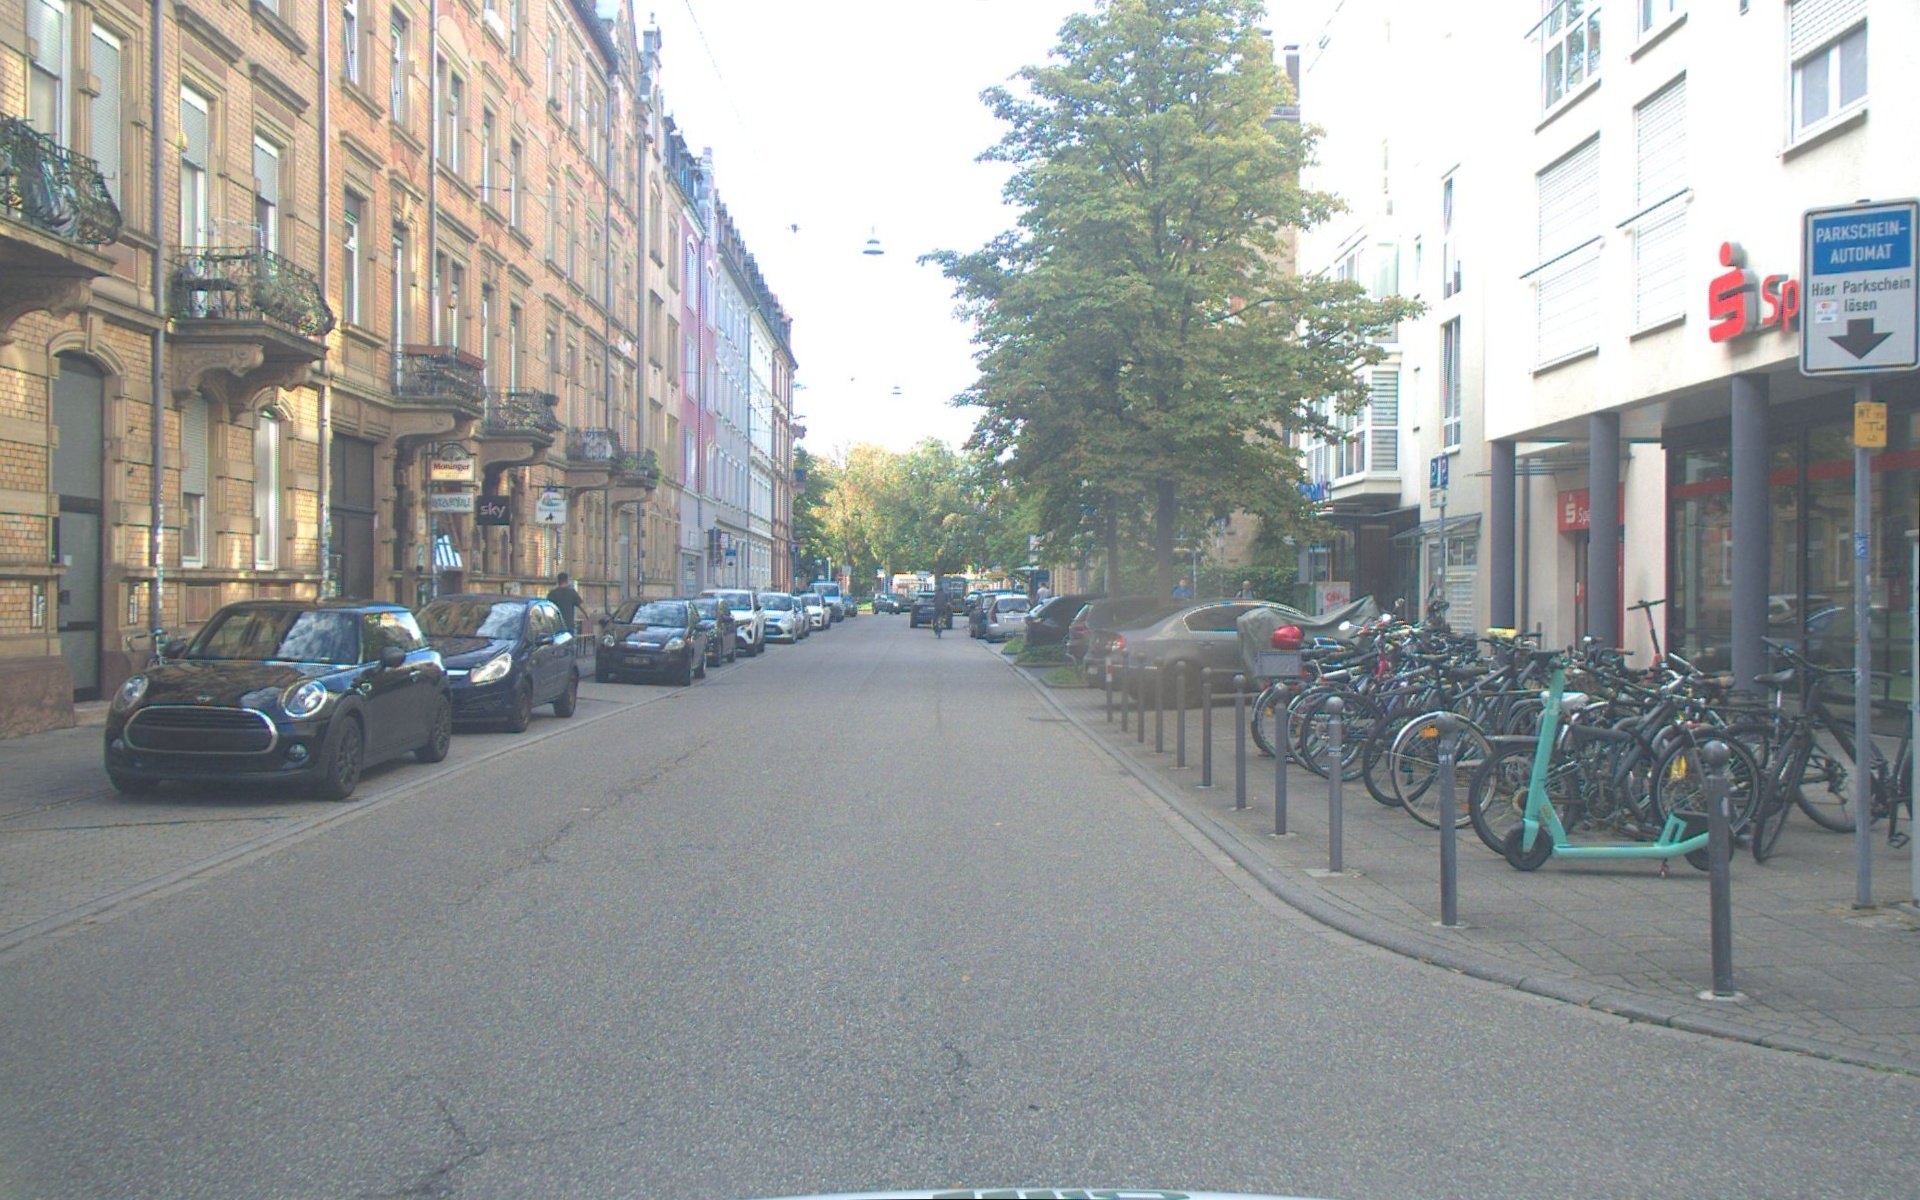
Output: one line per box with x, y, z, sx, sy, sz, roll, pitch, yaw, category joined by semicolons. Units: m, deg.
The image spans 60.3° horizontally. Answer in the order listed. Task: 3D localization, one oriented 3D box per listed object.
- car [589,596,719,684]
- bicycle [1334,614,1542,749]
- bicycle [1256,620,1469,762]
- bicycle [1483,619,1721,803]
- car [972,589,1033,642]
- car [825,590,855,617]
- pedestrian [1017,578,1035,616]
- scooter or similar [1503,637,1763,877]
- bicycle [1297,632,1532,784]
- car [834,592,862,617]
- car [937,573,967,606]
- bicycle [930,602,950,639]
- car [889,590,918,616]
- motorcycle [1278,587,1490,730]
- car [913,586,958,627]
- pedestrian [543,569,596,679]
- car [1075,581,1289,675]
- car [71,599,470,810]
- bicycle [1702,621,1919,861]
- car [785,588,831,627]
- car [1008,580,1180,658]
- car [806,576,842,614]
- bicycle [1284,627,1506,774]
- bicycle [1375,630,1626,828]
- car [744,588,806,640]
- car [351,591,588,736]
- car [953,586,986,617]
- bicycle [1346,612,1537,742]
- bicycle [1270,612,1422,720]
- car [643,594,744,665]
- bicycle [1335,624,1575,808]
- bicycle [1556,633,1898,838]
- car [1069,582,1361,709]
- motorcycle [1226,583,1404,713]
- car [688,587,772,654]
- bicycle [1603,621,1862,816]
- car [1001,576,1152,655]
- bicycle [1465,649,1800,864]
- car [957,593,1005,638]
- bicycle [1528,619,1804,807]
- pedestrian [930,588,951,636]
-5.441;0.669;29.817;1.656;1.393;3.866;3;0;-2;car
4.411;0.756;15.292;1.758;1.179;0.500;-2;1;25;bicycle
3.601;0.808;14.866;1.757;1.179;0.500;-2;1;1;bicycle
4.580;0.763;11.781;1.741;1.166;0.409;-3;1;-22;bicycle
1.404;0.500;56.532;1.891;1.666;3.999;1;1;-1;car
-7.292;0.232;100.687;1.656;1.577;3.865;1;0;-2;car
3.942;-0.178;99.202;0.975;2.269;0.898;1;0;-1;pedestrian
3.521;0.802;8.674;1.183;1.167;0.378;-2;2;31;scooter or similar
3.606;0.853;13.187;1.729;1.118;0.411;-2;1;1;bicycle
-7.484;0.282;110.388;1.555;1.566;3.753;1;1;1;car
-0.539;-0.676;106.401;1.746;2.055;3.886;1;1;-2;car
-0.711;0.720;59.616;0.703;1.296;1.884;1;0;0;bicycle
-3.794;0.211;111.522;1.817;1.649;4.000;1;1;-1;car
4.638;0.631;18.186;2.105;1.460;0.765;-2;1;3;motorcycle
-1.128;0.300;74.709;1.925;1.771;4.040;1;0;-1;car
-6.828;0.414;28.936;0.675;1.885;0.931;1;0;0;pedestrian
4.179;0.516;31.701;3.903;1.611;2.001;-2;0;4;car
-5.309;0.716;13.299;1.656;1.411;3.866;1;0;-2;car
5.028;0.729;8.919;1.729;1.182;0.650;-2;1;1;bicycle
-6.320;0.306;69.250;1.656;1.577;3.866;1;0;-2;car
3.150;0.428;39.205;3.903;1.669;2.001;-2;0;4;car
-6.988;-0.241;85.252;1.656;1.853;3.866;1;0;-2;car
3.650;0.840;13.933;1.729;1.138;0.411;-2;1;1;bicycle
3.477;0.817;10.664;1.466;1.166;0.411;-2;1;-7;bicycle
-6.002;0.442;53.991;1.656;1.577;3.866;1;0;-2;car
-5.505;0.657;19.045;1.656;1.462;3.866;1;0;-2;car
0.468;0.055;87.108;1.555;1.566;3.751;1;1;-2;car
4.723;0.752;16.272;1.697;1.179;0.500;-2;1;0;bicycle
4.543;0.771;19.529;1.630;1.179;0.557;-2;1;0;bicycle
-5.881;0.616;36.848;1.656;1.393;3.866;3;0;-2;car
3.548;0.803;11.823;1.741;1.166;0.409;-3;1;-22;bicycle
4.581;0.796;9.955;1.729;1.106;0.650;-2;1;1;bicycle
3.564;0.621;23.399;3.694;1.573;1.726;-2;-1;-12;car
4.532;0.609;21.226;2.105;1.557;0.686;-2;1;3;motorcycle
-5.766;0.496;41.869;1.656;1.577;3.866;1;0;-2;car
5.007;0.756;10.749;1.465;1.166;0.411;-2;1;-1;bicycle
3.115;0.410;44.368;3.904;1.712;1.739;-2;8;3;car
3.768;0.860;9.293;1.732;1.075;0.411;-2;1;-7;bicycle
0.745;0.562;60.989;1.655;1.577;3.687;1;0;0;car
4.809;0.753;11.283;1.732;1.166;0.411;-2;1;-7;bicycle
-0.710;0.427;59.900;0.703;1.679;0.930;1;0;0;pedestrian
